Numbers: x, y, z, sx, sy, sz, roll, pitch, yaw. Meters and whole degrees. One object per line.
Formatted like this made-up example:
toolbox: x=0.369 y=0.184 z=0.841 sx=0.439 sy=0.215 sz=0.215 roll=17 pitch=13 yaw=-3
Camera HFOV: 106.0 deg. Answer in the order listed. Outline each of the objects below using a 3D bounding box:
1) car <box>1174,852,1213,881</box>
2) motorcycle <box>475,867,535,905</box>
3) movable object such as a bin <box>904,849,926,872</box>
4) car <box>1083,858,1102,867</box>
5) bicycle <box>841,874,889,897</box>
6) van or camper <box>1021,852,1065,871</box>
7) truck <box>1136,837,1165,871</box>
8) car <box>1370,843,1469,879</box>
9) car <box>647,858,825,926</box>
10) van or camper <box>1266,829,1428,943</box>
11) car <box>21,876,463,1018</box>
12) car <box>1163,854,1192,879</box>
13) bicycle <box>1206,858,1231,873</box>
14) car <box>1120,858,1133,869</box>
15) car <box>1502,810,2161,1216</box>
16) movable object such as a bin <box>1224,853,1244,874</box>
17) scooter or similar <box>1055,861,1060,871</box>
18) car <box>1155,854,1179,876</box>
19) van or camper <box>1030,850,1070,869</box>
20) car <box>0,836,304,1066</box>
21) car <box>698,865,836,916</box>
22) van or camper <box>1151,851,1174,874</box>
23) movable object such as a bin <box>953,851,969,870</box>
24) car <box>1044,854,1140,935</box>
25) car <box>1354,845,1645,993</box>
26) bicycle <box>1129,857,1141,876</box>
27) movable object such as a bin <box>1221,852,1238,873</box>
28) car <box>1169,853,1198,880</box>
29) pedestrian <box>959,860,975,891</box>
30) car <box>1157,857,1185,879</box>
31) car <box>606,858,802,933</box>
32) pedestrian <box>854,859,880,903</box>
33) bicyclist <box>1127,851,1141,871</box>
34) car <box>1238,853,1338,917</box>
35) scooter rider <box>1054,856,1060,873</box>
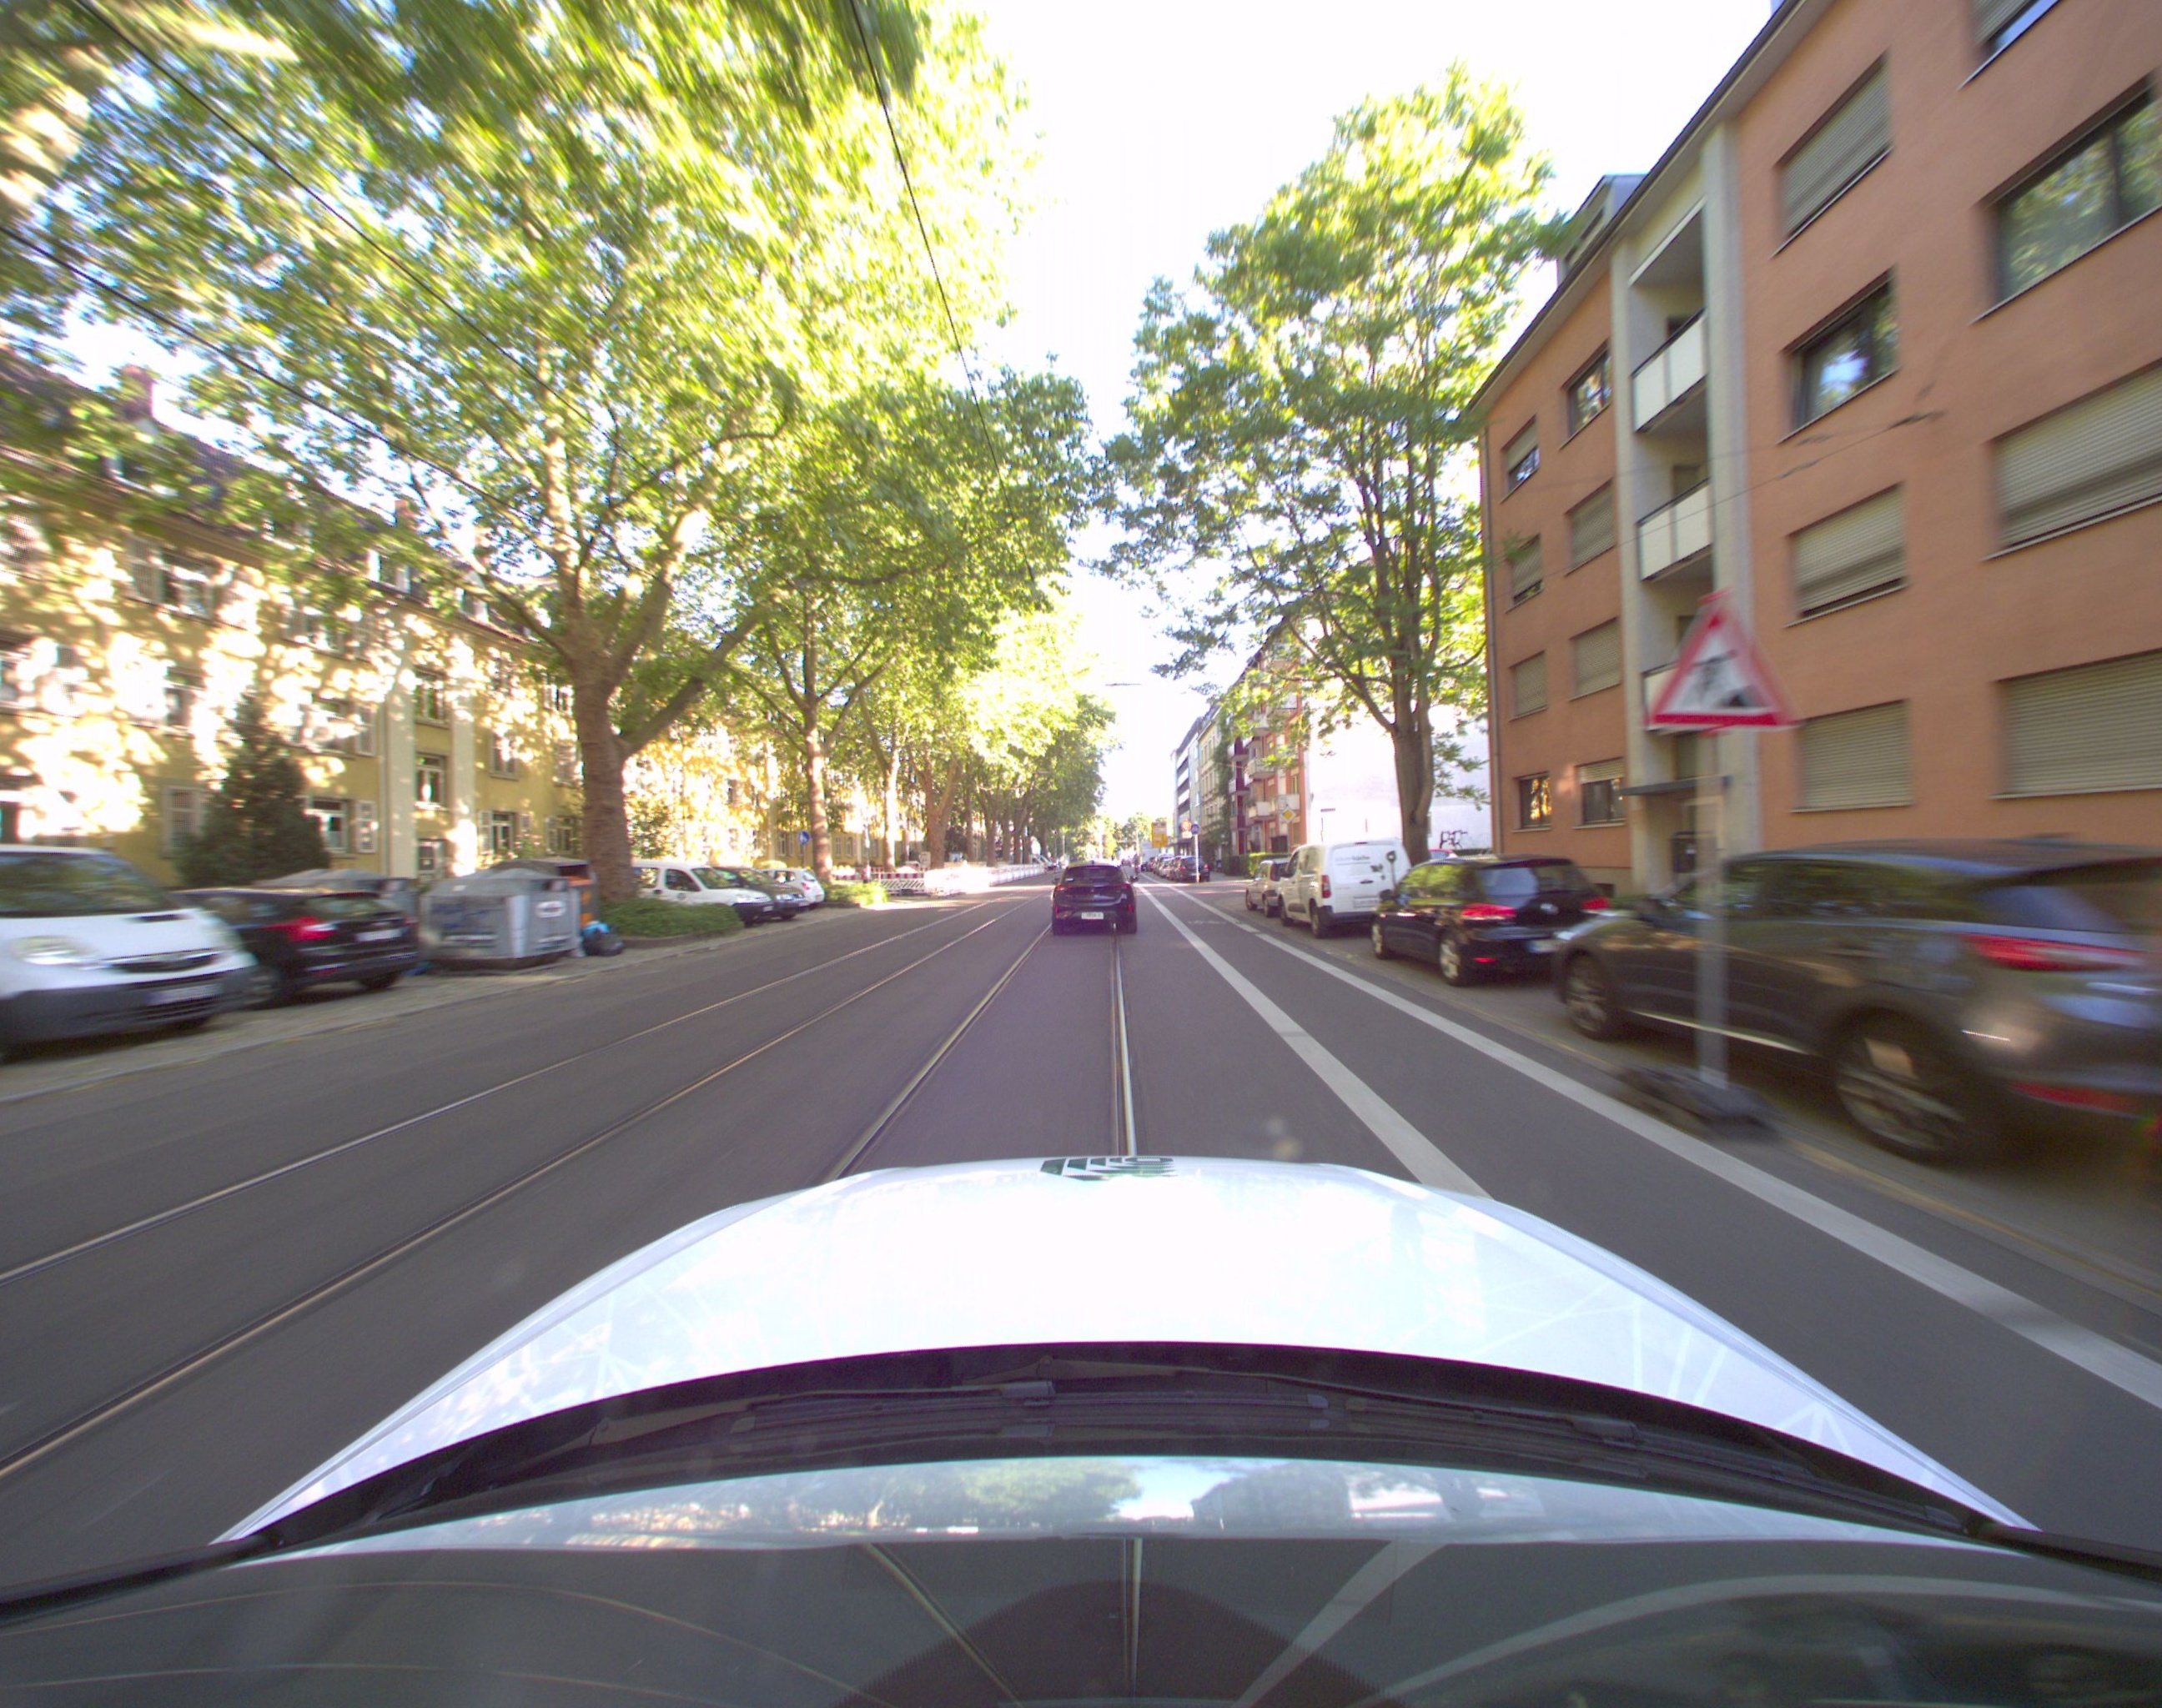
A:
car: x=6.322 y=0.691 z=46.090 sx=1.727 sy=1.462 sz=3.918 roll=-4 pitch=0 yaw=2
motorcycle: x=-19.884 y=1.088 z=28.140 sx=1.702 sy=1.241 sz=0.523 roll=-2 pitch=0 yaw=3
movable object such as a bin: x=-14.087 y=0.576 z=69.217 sx=1.328 sy=1.869 sz=2.008 roll=-1 pitch=-1 yaw=2
car: x=2.545 y=1.820 z=176.649 sx=1.930 sy=1.695 sz=4.277 roll=-3 pitch=0 yaw=-33
bicycle: x=-9.750 y=1.422 z=36.804 sx=1.964 sy=0.963 sz=0.726 roll=-2 pitch=0 yaw=2
van or camper: x=-5.061 y=1.005 z=109.020 sx=5.475 sy=2.379 sz=2.273 roll=-1 pitch=-1 yaw=5
truck: x=7.426 y=0.022 z=87.803 sx=2.528 sy=3.338 sz=7.199 roll=-4 pitch=-1 yaw=3
car: x=15.517 y=0.294 z=37.468 sx=3.900 sy=1.482 sz=1.562 roll=-2 pitch=2 yaw=0
car: x=-9.779 y=1.061 z=23.233 sx=4.210 sy=1.688 sz=1.938 roll=-2 pitch=0 yaw=9
van or camper: x=5.092 y=0.549 z=16.302 sx=1.748 sy=1.864 sz=4.832 roll=-2 pitch=0 yaw=2
car: x=-10.719 y=1.134 z=10.632 sx=3.832 sy=1.498 sz=1.863 roll=-2 pitch=0 yaw=2
car: x=6.467 y=0.843 z=54.687 sx=1.585 sy=1.526 sz=3.837 roll=-4 pitch=-1 yaw=3
bicycle: x=10.783 y=0.887 z=63.929 sx=1.883 sy=1.029 sz=0.477 roll=-4 pitch=-1 yaw=7
car: x=7.826 y=1.548 z=139.283 sx=1.986 sy=1.695 sz=4.741 roll=-4 pitch=0 yaw=2
car: x=4.803 y=0.618 z=5.440 sx=1.761 sy=1.572 sz=4.338 roll=-4 pitch=0 yaw=2
movable object such as a bin: x=9.718 y=0.615 z=51.780 sx=0.963 sy=1.327 sz=1.722 roll=-1 pitch=-1 yaw=2
scooter or similar: x=-2.650 y=1.382 z=91.039 sx=0.406 sy=1.083 sz=1.339 roll=-1 pitch=-1 yaw=3
car: x=6.864 y=0.862 z=65.340 sx=1.653 sy=1.580 sz=3.591 roll=-3 pitch=0 yaw=3
van or camper: x=-4.489 y=0.780 z=118.379 sx=5.701 sy=2.644 sz=2.271 roll=-1 pitch=-1 yaw=2
car: x=-10.820 y=0.867 z=7.857 sx=4.644 sy=1.945 sz=1.961 roll=-1 pitch=0 yaw=-2
car: x=-10.507 y=1.213 z=27.461 sx=3.832 sy=1.498 sz=1.863 roll=-2 pitch=0 yaw=2
van or camper: x=7.021 y=0.724 z=70.440 sx=1.662 sy=1.883 sz=4.213 roll=-3 pitch=0 yaw=3
movable object such as a bin: x=-10.953 y=0.595 z=74.364 sx=1.093 sy=1.645 sz=1.560 roll=-1 pitch=-1 yaw=2
car: x=0.267 y=0.771 z=17.342 sx=1.775 sy=1.496 sz=4.002 roll=-1 pitch=0 yaw=2
car: x=5.028 y=0.677 z=10.517 sx=1.699 sy=1.473 sz=4.170 roll=-2 pitch=0 yaw=2
bicycle: x=4.479 y=1.006 z=67.601 sx=0.912 sy=1.561 sz=3.407 roll=-1 pitch=0 yaw=3
movable object such as a bin: x=9.769 y=0.567 z=53.618 sx=0.920 sy=1.327 sz=1.682 roll=-1 pitch=-1 yaw=2
car: x=6.310 y=0.784 z=50.377 sx=1.520 sy=1.590 sz=3.754 roll=-1 pitch=-1 yaw=3
pedestrian: x=-6.202 y=1.146 z=44.416 sx=0.714 sy=1.669 sz=0.779 roll=-1 pitch=-1 yaw=2
car: x=6.626 y=1.005 z=60.462 sx=1.653 sy=1.399 sz=4.741 roll=-4 pitch=0 yaw=2
car: x=-9.597 y=1.028 z=20.933 sx=4.181 sy=1.757 sz=1.741 roll=-1 pitch=0 yaw=3
pedestrian: x=-8.682 y=1.072 z=33.056 sx=0.819 sy=1.745 sz=0.797 roll=-1 pitch=-1 yaw=2
bicyclist: x=4.374 y=0.599 z=67.487 sx=1.085 sy=1.647 sz=1.401 roll=-1 pitch=0 yaw=2
car: x=5.349 y=0.744 z=21.535 sx=1.699 sy=1.473 sz=4.002 roll=-2 pitch=0 yaw=2
scooter rider: x=-2.648 y=1.187 z=91.014 sx=0.647 sy=1.957 sz=0.624 roll=-1 pitch=-1 yaw=2
